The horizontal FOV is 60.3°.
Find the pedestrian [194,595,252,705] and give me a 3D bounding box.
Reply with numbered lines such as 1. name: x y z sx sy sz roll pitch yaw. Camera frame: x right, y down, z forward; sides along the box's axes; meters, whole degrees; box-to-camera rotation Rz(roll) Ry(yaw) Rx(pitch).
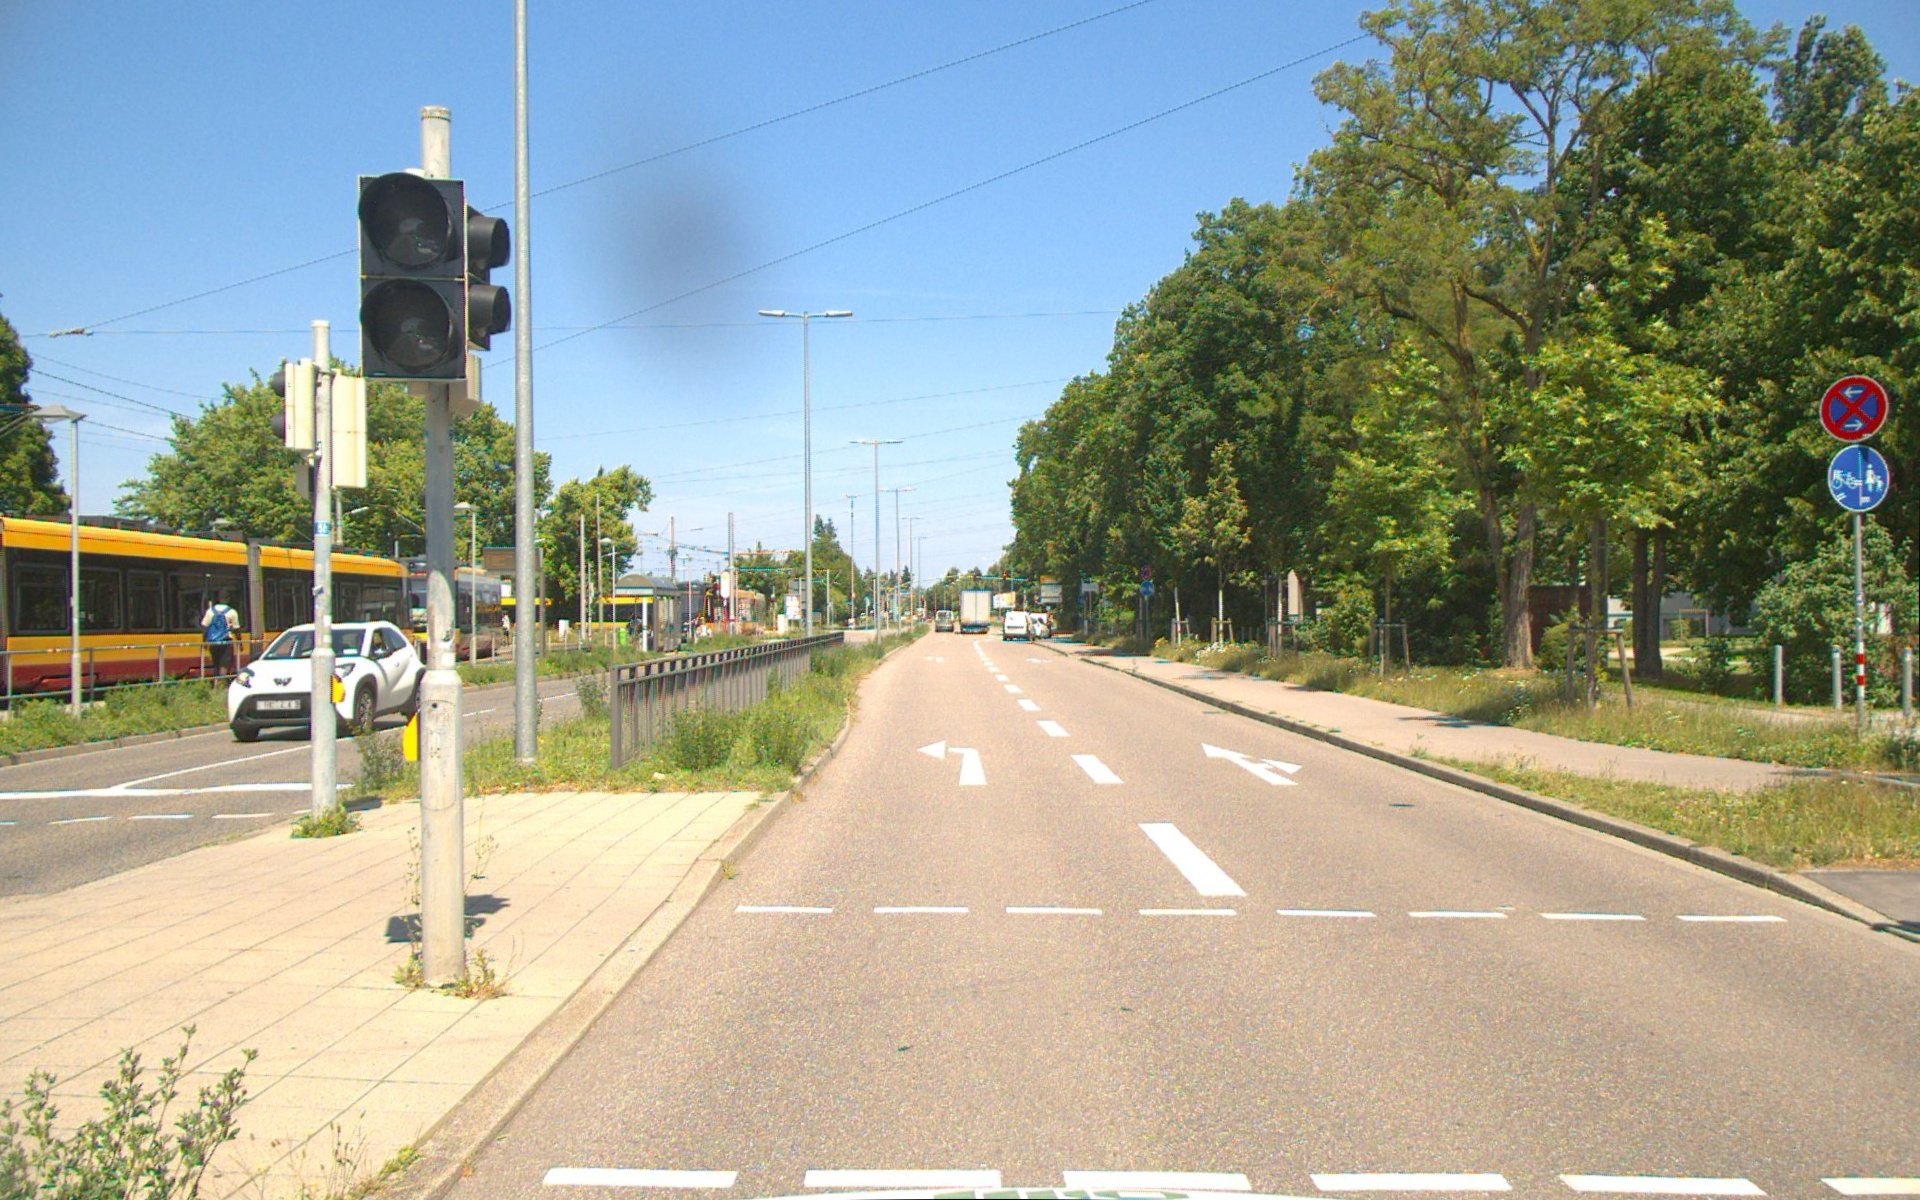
1. pedestrian: -12.440 0.840 27.924 0.619 1.822 0.776 1 -1 -2

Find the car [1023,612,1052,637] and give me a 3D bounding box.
1. car: 5.340 1.660 114.461 1.665 1.683 4.397 1 0 -2

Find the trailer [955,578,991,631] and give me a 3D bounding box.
1. trailer: 1.071 0.389 145.915 2.770 4.499 8.745 1 0 -2

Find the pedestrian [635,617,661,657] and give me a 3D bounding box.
1. pedestrian: -12.541 1.488 66.492 0.856 1.573 1.025 1 -1 -3

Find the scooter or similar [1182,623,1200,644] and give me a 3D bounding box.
1. scooter or similar: 10.197 1.479 72.916 0.693 0.909 0.763 1 -1 0

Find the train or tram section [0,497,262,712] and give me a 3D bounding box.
1. train or tram section: -18.485 0.095 34.053 2.982 3.807 12.593 1 0 -1

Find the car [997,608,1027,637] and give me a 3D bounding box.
1. car: 3.321 1.417 104.498 1.673 1.778 4.429 1 0 4

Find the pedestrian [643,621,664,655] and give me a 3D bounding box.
1. pedestrian: -12.056 1.492 65.028 0.687 1.306 0.839 1 -1 -3

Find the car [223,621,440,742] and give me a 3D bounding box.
1. car: -8.691 1.070 23.186 1.734 1.531 3.718 0 -1 -2

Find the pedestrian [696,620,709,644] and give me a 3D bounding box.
1. pedestrian: -12.823 1.592 82.306 0.569 1.210 0.536 1 -1 -1

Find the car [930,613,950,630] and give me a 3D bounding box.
1. car: -1.896 2.048 156.801 1.854 1.396 4.428 2 -2 -1

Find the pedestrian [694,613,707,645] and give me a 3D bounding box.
1. pedestrian: -13.129 1.458 83.676 0.524 1.593 0.582 1 -1 -2

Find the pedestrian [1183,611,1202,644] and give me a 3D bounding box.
1. pedestrian: 10.189 1.218 72.436 0.693 1.422 0.763 1 -1 0

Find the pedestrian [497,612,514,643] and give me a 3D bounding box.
1. pedestrian: -22.987 1.388 83.715 0.788 1.593 0.534 1 -1 -15

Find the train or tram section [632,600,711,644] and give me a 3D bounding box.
1. train or tram section: -24.449 1.764 139.493 3.000 3.527 12.640 1 -1 -26

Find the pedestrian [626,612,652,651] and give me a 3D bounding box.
1. pedestrian: -13.142 1.287 67.759 0.912 1.573 0.985 1 -1 -3

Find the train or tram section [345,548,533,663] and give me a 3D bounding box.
1. train or tram section: -18.709 0.221 60.626 2.983 3.688 13.890 1 0 -2

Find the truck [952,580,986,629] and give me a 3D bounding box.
1. truck: 0.769 0.416 154.400 2.770 4.420 8.281 1 0 -2

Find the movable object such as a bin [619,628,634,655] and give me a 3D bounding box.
1. movable object such as a bin: -12.333 1.521 61.104 0.472 0.995 0.644 0 -1 -5

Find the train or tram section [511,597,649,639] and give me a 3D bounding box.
1. train or tram section: -34.097 1.605 148.054 12.961 3.527 3.044 1 -1 26

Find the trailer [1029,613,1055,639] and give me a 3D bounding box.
1. trailer: 5.477 1.705 110.814 1.439 1.698 2.855 1 -1 -2

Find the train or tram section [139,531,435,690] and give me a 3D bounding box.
1. train or tram section: -18.546 0.301 47.042 2.981 3.833 13.260 1 0 0
